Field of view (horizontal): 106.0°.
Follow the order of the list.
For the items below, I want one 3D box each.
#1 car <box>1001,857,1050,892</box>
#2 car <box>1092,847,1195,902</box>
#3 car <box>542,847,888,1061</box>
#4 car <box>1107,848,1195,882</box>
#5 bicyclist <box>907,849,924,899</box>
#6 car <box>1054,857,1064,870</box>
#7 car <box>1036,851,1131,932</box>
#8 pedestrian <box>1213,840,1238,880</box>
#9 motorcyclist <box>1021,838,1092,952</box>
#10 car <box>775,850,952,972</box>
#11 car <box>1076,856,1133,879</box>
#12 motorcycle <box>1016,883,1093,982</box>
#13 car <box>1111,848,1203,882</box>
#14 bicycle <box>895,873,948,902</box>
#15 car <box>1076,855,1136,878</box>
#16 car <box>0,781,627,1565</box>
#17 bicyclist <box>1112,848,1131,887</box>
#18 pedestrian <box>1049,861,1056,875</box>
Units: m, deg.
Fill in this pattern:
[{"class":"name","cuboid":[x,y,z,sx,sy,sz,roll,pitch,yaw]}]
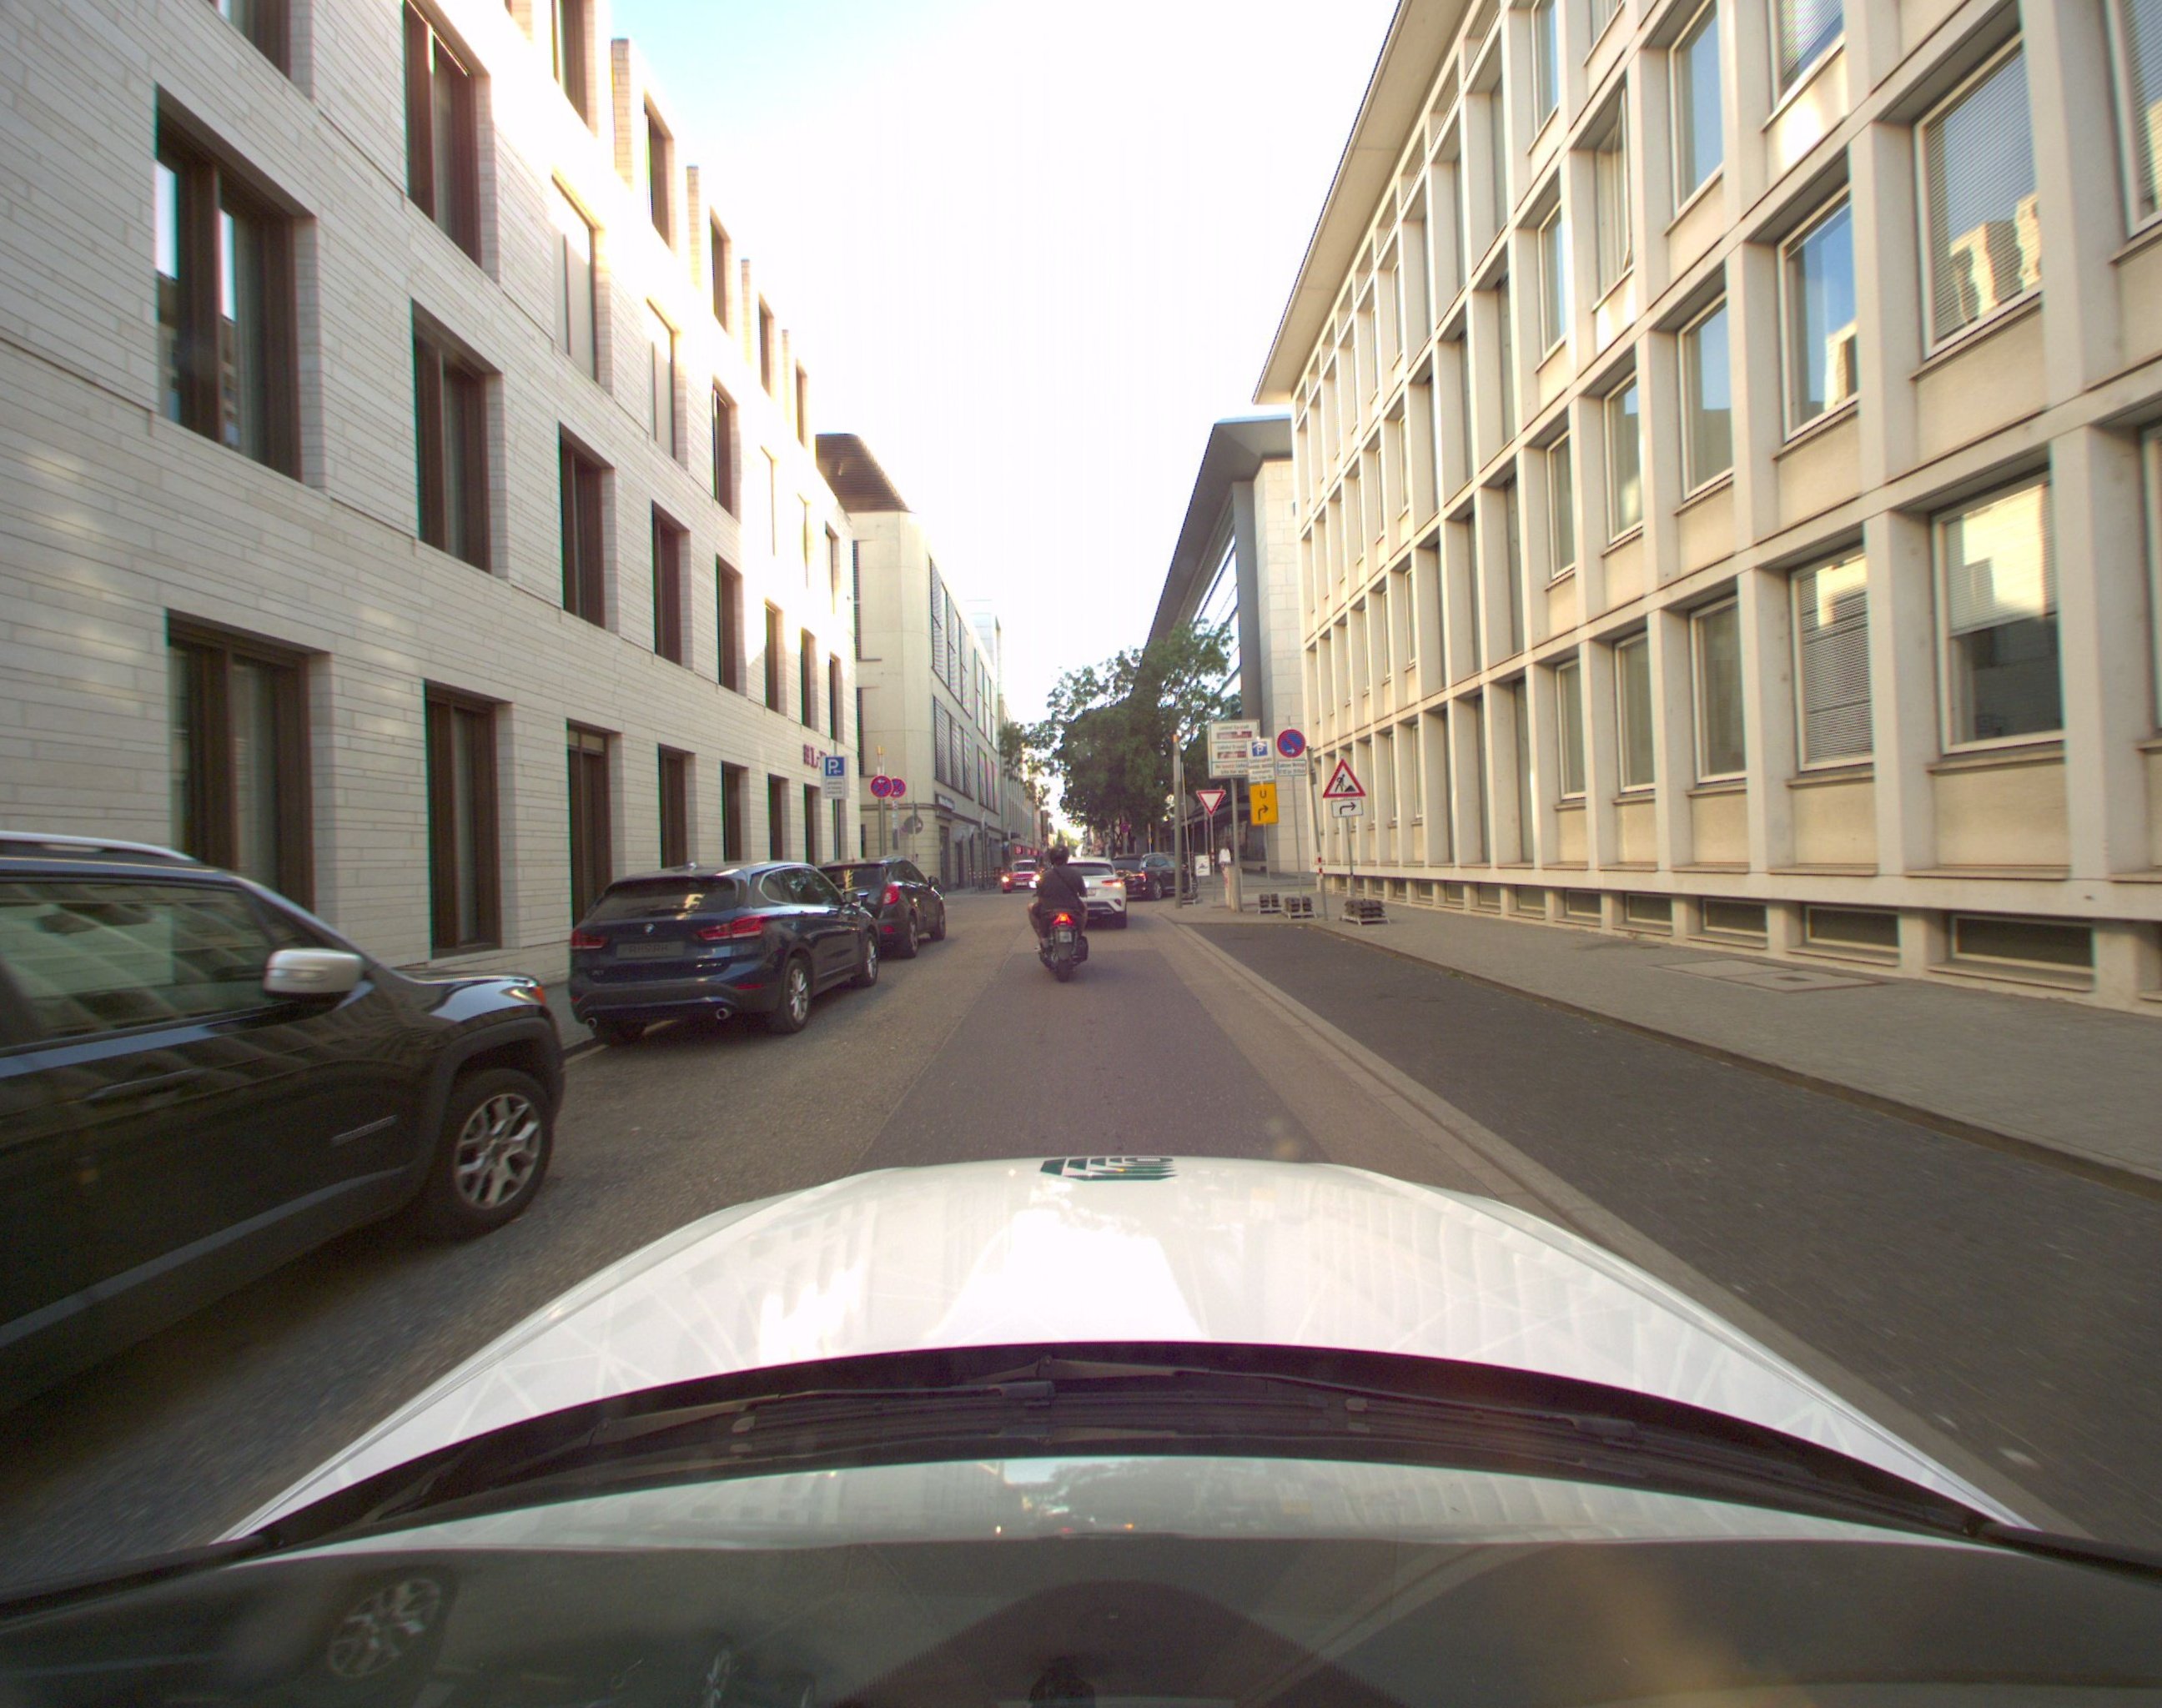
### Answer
[{"class":"car","cuboid":[-2.527,0.982,37.995,1.815,1.465,4.265,-2,-2,2]},{"class":"car","cuboid":[2.159,0.621,26.802,1.805,1.541,4.391,-2,1,27]},{"class":"car","cuboid":[-3.429,0.794,8.630,1.735,1.594,4.152,-4,0,-1]},{"class":"car","cuboid":[4.217,0.682,49.380,4.993,1.499,1.998,-6,-1,-3]},{"class":"bicyclist","cuboid":[-5.874,0.695,28.842,0.550,1.732,0.499,-1,-1,-13]},{"class":"car","cuboid":[-4.335,1.835,159.208,1.989,2.329,5.016,0,0,-2]},{"class":"car","cuboid":[0.029,0.731,18.139,1.817,1.541,4.262,-2,0,-1]},{"class":"pedestrian","cuboid":[6.586,0.285,37.139,0.902,1.706,0.834,-5,-1,1]},{"class":"motorcyclist","cuboid":[-0.310,0.526,10.538,0.864,1.427,0.455,-1,-1,0]},{"class":"car","cuboid":[-3.568,0.839,14.225,1.816,1.677,4.263,-4,0,0]},{"class":"car","cuboid":[2.092,1.207,73.673,4.993,1.499,1.998,-6,-1,-3]},{"class":"motorcycle","cuboid":[-0.297,0.957,10.478,0.869,1.109,1.840,-1,-1,1]},{"class":"car","cuboid":[4.343,0.642,46.974,4.993,1.451,1.998,-6,-1,-3]},{"class":"bicycle","cuboid":[-5.638,1.169,28.878,1.816,0.973,0.509,-1,-1,-13]},{"class":"car","cuboid":[2.156,1.087,71.177,4.993,1.499,1.998,-6,-1,-3]},{"class":"car","cuboid":[-3.321,0.753,2.235,1.817,1.714,4.016,-4,0,-1]},{"class":"bicyclist","cuboid":[1.707,0.561,34.265,0.633,1.625,0.493,-1,-2,-29]},{"class":"pedestrian","cuboid":[-3.385,1.650,96.501,0.729,1.574,0.636,-1,-1,0]}]
